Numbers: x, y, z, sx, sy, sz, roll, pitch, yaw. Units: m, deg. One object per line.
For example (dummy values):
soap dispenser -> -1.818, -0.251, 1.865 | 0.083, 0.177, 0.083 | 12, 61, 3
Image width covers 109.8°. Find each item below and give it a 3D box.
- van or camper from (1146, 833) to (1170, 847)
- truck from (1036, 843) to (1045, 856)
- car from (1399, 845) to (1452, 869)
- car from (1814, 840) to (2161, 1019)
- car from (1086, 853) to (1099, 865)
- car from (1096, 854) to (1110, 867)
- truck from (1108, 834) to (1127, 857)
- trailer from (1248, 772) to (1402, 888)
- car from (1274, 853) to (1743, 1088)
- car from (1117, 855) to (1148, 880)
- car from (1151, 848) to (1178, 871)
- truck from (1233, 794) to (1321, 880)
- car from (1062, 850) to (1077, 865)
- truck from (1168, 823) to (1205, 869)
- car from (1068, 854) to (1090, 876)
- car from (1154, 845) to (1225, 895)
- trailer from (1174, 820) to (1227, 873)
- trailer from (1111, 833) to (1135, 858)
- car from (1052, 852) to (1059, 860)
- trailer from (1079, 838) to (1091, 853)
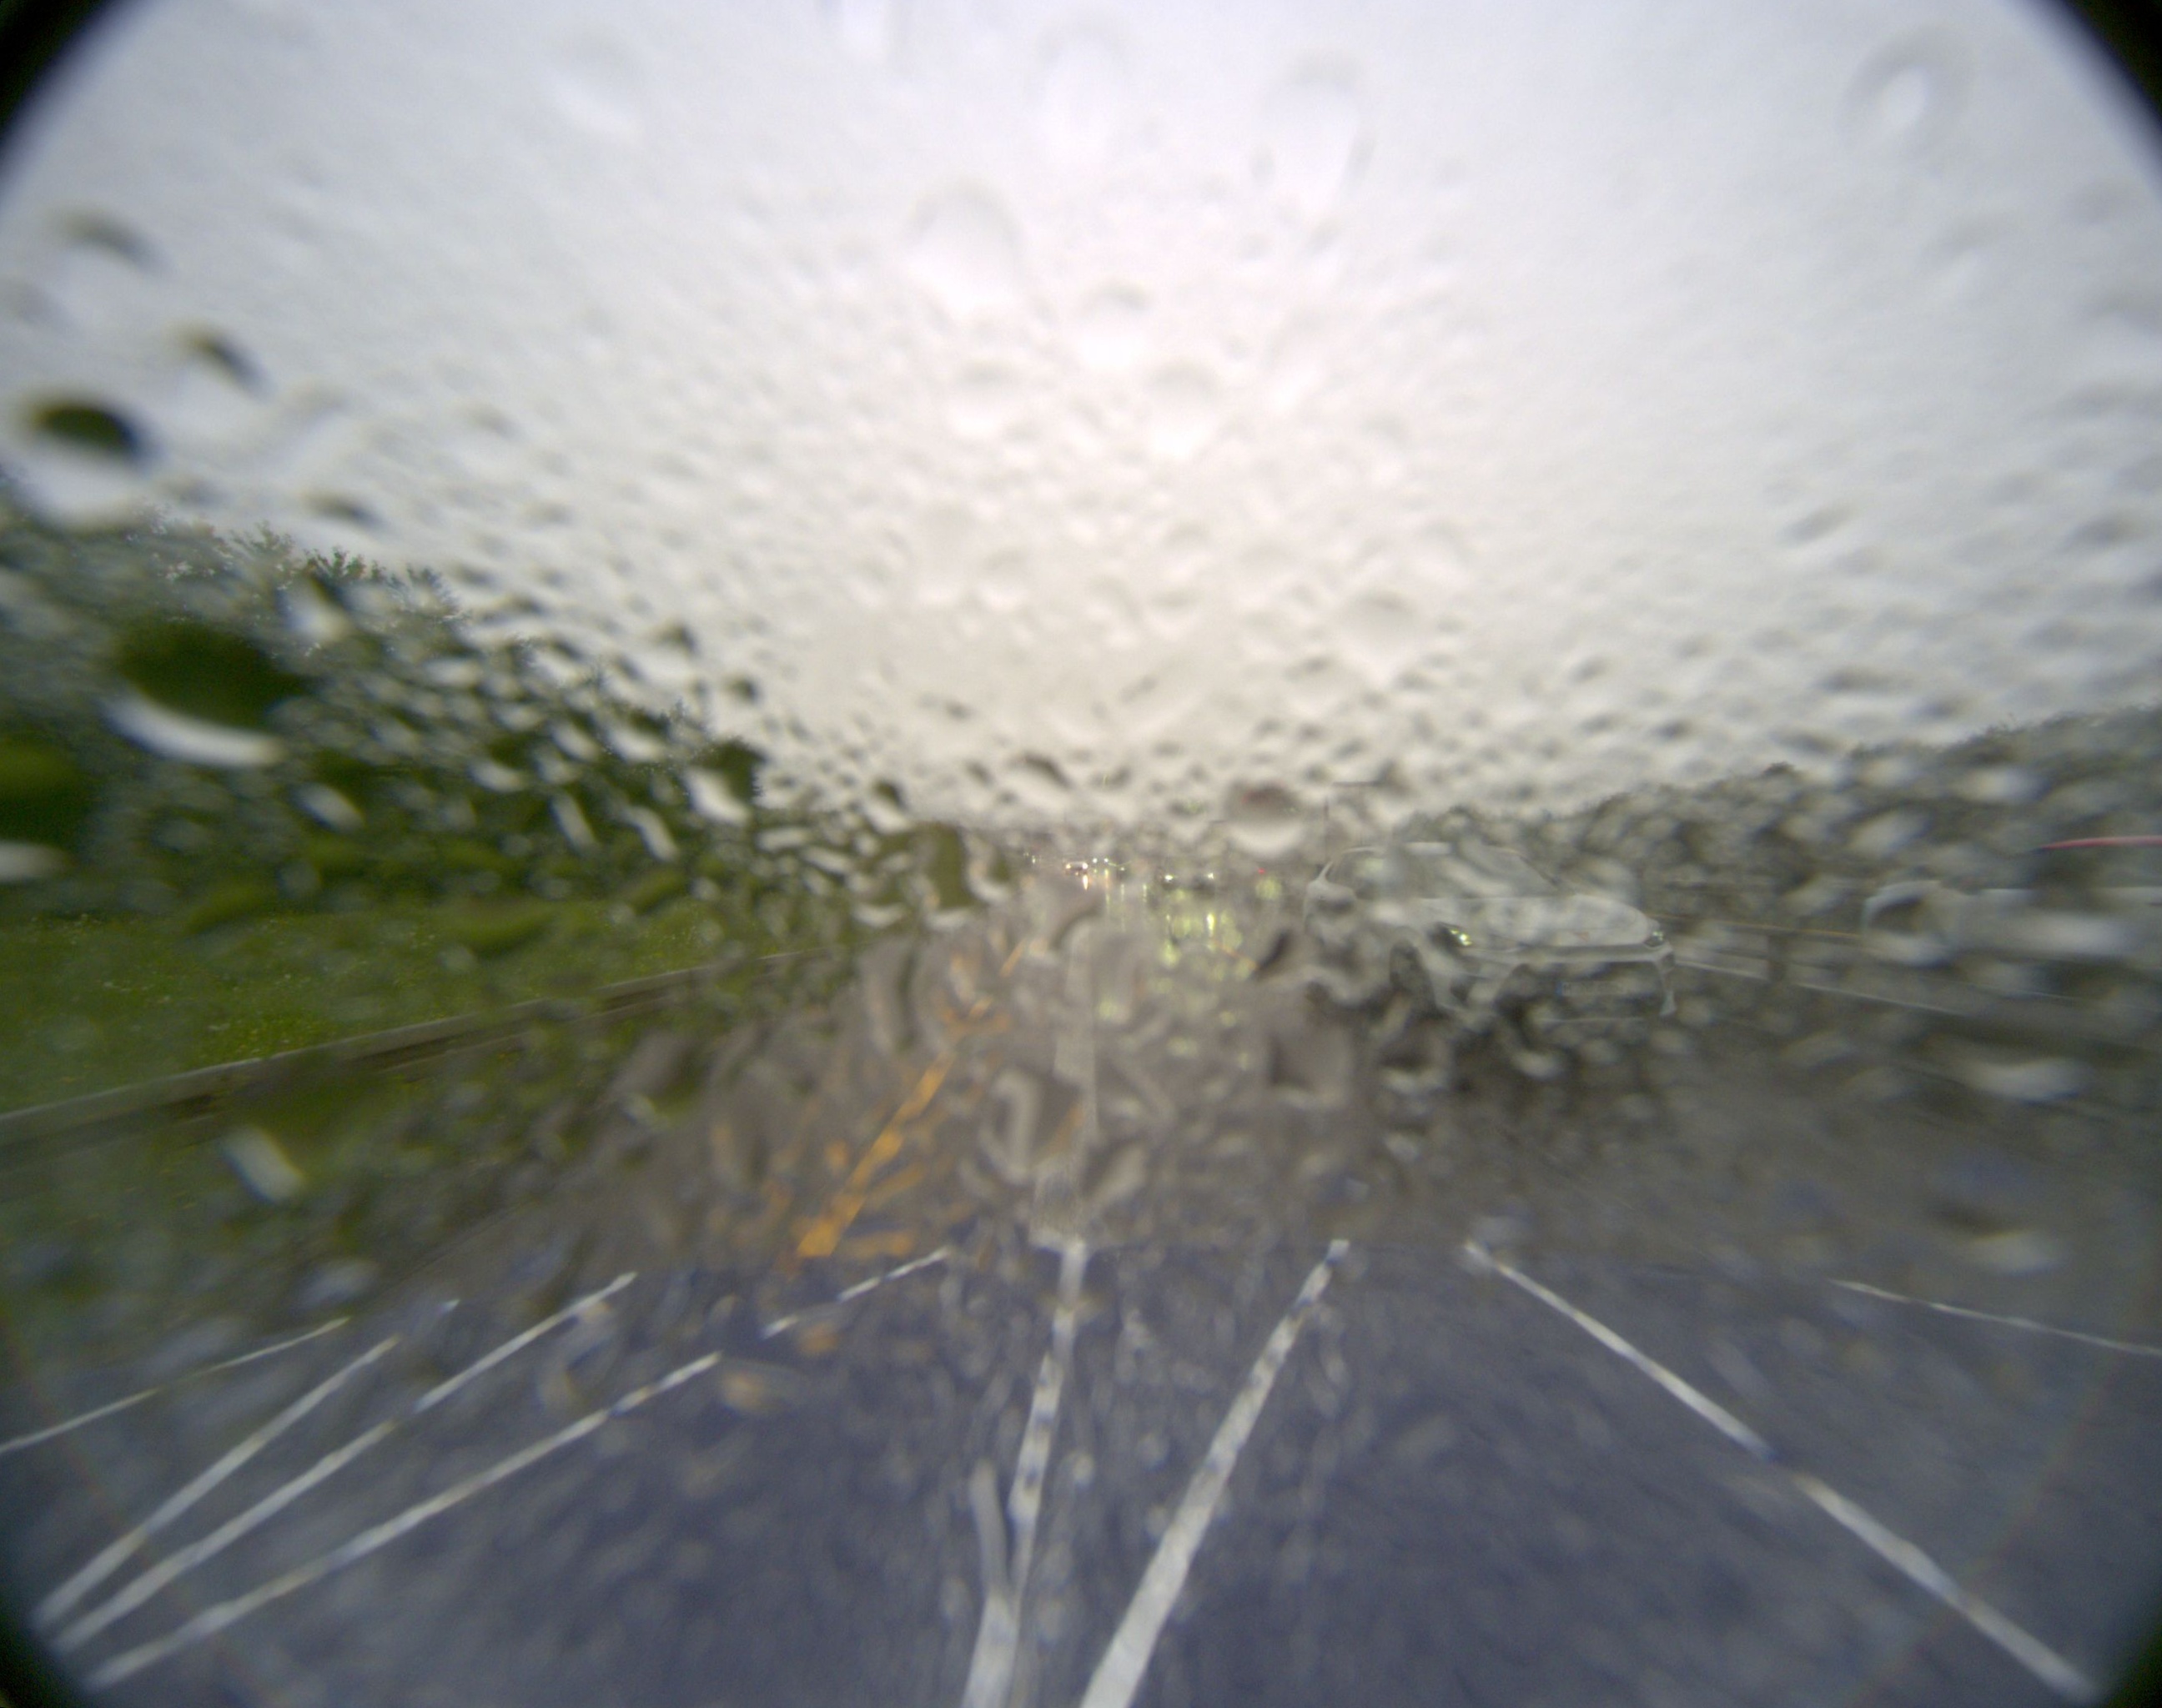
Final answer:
van or camper -> 19.858, -3.656, 195.407 | 5.422, 3.325, 3.376 | -3, 1, -5
truck -> -13.205, -1.509, 248.556 | 2.507, 4.067, 15.195 | -3, 1, -3
car -> 30.524, 0.236, 67.551 | 2.099, 1.955, 5.364 | -1, 0, -1
car -> 10.351, 0.638, 7.561 | 1.998, 1.497, 4.296 | -2, 1, 1
car -> 1.735, 0.773, 116.677 | 1.673, 1.804, 3.999 | 0, 1, -2
car -> 2.664, 0.788, 93.074 | 1.589, 1.528, 3.831 | 0, 1, 0
truck -> 6.665, -1.514, 138.563 | 2.631, 4.058, 6.667 | -2, 0, -3
trailer -> 10.013, -0.816, 33.103 | 2.914, 4.065, 12.220 | -1, 0, 1
car -> 3.551, 0.791, 7.674 | 1.932, 1.542, 5.006 | -1, 0, 0
car -> 3.378, 0.865, 50.287 | 1.792, 1.480, 3.999 | -3, 1, 0
car -> 7.394, 0.480, 67.540 | 1.998, 1.873, 4.433 | -1, 0, 1
truck -> 10.120, -0.792, 40.027 | 2.891, 4.077, 6.926 | -1, 0, 1
car -> -1.438, 0.431, 94.083 | 1.674, 1.804, 3.998 | -1, 1, -4
truck -> 9.913, -0.726, 71.868 | 2.490, 4.007, 6.447 | -2, 0, 0
car -> -0.195, 0.911, 66.097 | 1.881, 1.772, 3.999 | 0, 1, -1
car -> 3.893, 0.516, 28.085 | 2.069, 1.618, 5.196 | -1, 0, 2
trailer -> 9.975, -0.674, 64.844 | 2.500, 4.026, 12.584 | -1, 1, 0
trailer -> 7.141, -1.464, 131.204 | 2.607, 4.054, 12.426 | -2, 1, -4
car -> -5.804, 0.401, 173.234 | 1.673, 1.804, 3.999 | 0, 1, -2
trailer -> 1.008, -2.331, 209.243 | 2.620, 3.984, 11.923 | -3, 1, -2
